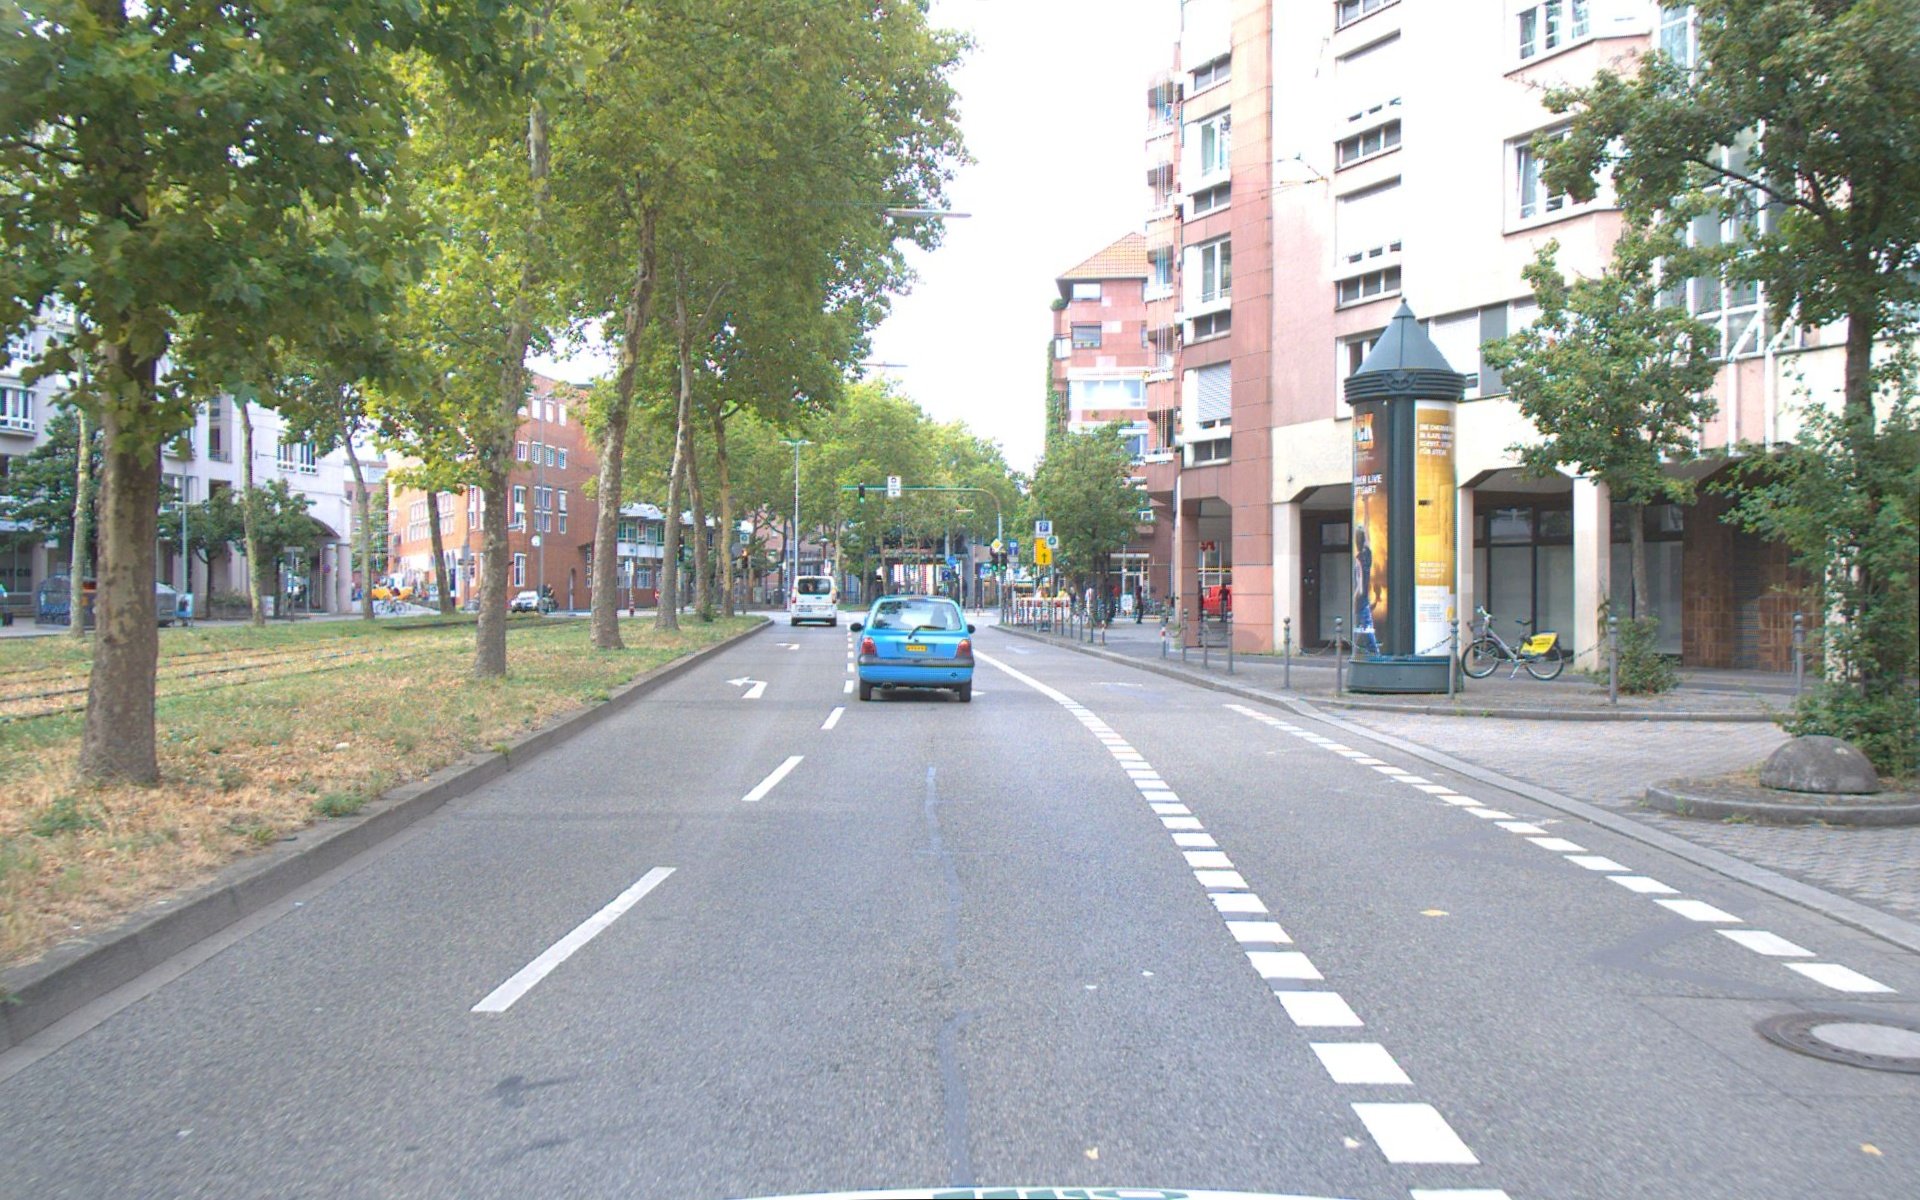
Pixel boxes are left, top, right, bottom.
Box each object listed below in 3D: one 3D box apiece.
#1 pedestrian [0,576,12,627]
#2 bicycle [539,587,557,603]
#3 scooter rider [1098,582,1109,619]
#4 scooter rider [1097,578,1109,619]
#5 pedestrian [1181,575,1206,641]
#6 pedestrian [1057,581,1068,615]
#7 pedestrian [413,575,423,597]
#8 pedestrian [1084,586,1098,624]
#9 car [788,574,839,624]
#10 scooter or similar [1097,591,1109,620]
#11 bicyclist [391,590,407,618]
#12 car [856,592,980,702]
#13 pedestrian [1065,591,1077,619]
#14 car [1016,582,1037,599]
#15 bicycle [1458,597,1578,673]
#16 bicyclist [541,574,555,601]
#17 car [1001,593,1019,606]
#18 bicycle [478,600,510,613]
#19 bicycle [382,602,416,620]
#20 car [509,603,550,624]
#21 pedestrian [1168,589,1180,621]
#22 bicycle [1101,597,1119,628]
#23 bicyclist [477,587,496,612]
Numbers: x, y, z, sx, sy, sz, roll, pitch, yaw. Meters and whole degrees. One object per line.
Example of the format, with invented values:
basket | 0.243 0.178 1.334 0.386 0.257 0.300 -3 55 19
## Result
pedestrian | -32.886 0.041 56.440 0.541 1.735 0.884 0 0 1
bicycle | -29.019 -0.335 116.423 0.663 1.112 2.209 -1 0 1
scooter rider | 6.226 0.018 71.737 0.451 1.584 0.565 0 0 0
scooter rider | 6.247 -0.067 72.340 0.453 1.750 0.553 0 0 0
pedestrian | 5.982 0.200 42.345 0.532 1.678 0.826 0 0 15
pedestrian | 4.958 -0.101 79.837 0.506 1.644 0.851 0 0 3
pedestrian | -45.008 -1.139 137.253 0.685 1.849 0.649 0 0 -30
pedestrian | 6.403 0.253 80.818 0.662 1.860 0.851 0 0 3
car | -5.827 -0.069 66.233 1.893 1.959 4.952 0 1 -4
scooter or similar | 6.233 0.240 72.026 0.464 1.227 1.331 0 0 2
bicyclist | -34.216 0.259 100.825 0.777 1.702 0.565 0 0 -40
car | -0.659 0.604 23.504 1.608 1.410 3.840 1 0 -3
pedestrian | 6.244 0.304 92.915 0.661 1.565 0.947 0 0 4
car | 6.597 -0.918 163.631 1.662 1.629 4.003 0 0 8
bicycle | 8.674 0.534 25.743 1.633 1.148 0.667 -1 0 38
bicyclist | -29.029 -0.860 116.504 0.653 1.880 1.081 -1 0 1
car | 6.534 -0.049 215.856 1.846 1.652 4.003 0 0 8
bicycle | -30.241 0.436 107.332 1.970 0.850 0.570 0 0 -41
bicycle | -34.203 0.657 100.820 1.860 1.111 0.569 0 0 -41
car | -26.952 0.836 103.745 1.695 1.267 4.530 0 0 -4
pedestrian | 8.814 0.206 68.171 0.476 1.347 0.485 0 0 10
bicycle | 5.575 0.463 61.646 0.599 1.137 1.805 0 0 3
bicyclist | -30.646 -0.014 107.071 1.025 1.590 0.574 0 0 -41
